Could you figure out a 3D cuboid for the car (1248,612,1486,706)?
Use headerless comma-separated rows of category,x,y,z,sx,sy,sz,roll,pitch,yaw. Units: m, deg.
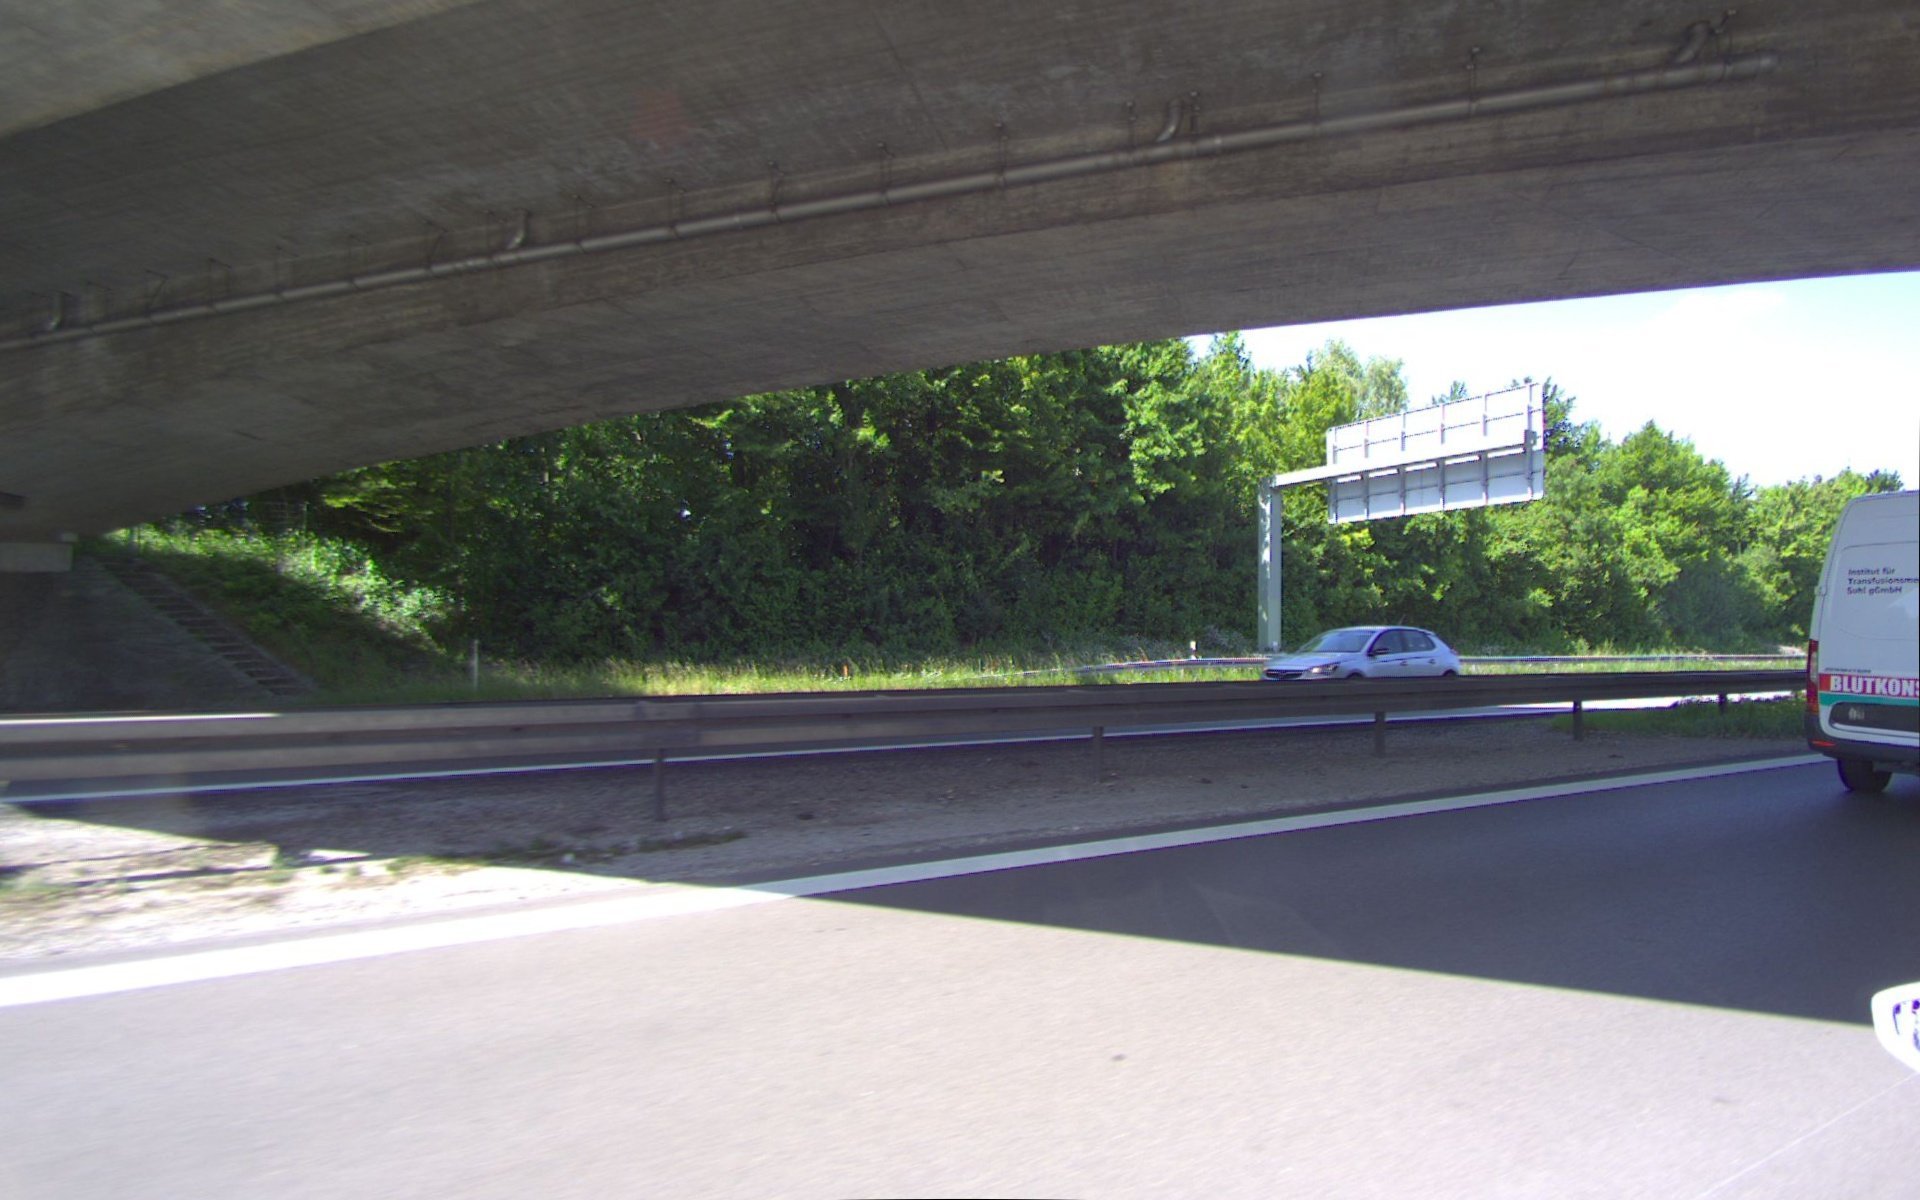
car,7.307,1.014,17.922,4.296,1.501,1.675,1,-2,-30

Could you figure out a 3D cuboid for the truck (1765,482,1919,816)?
truck,10.284,0.442,9.358,6.610,2.576,1.985,1,0,-29
